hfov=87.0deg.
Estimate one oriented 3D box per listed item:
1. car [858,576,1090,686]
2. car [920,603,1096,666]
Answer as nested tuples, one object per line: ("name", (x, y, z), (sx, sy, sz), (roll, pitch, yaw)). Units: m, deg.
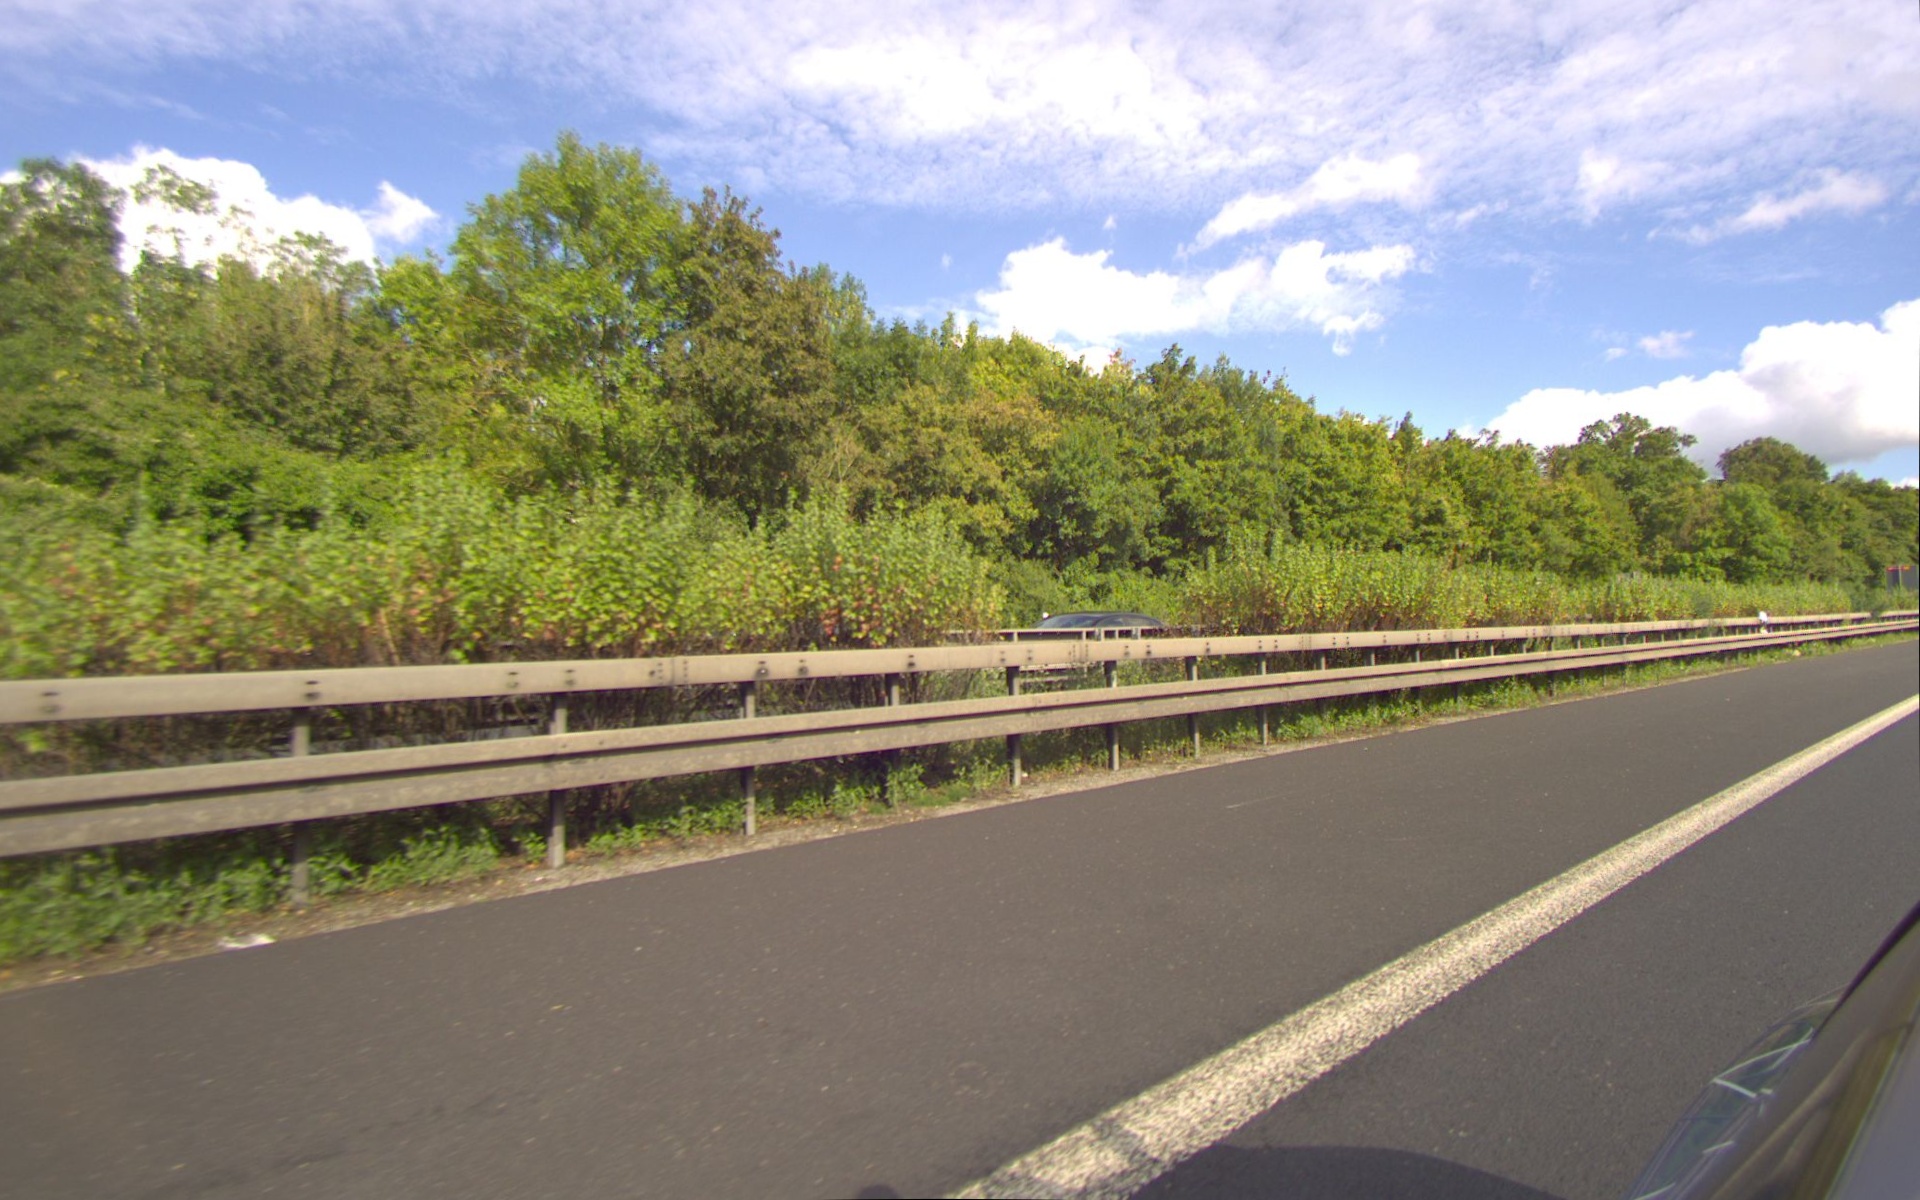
("car", (0.398, 0.581, 21.207), (4.825, 2.039, 1.996), (0, 0, -42))
("car", (1.346, 0.849, 26.898), (4.785, 1.529, 1.770), (0, 0, -41))
